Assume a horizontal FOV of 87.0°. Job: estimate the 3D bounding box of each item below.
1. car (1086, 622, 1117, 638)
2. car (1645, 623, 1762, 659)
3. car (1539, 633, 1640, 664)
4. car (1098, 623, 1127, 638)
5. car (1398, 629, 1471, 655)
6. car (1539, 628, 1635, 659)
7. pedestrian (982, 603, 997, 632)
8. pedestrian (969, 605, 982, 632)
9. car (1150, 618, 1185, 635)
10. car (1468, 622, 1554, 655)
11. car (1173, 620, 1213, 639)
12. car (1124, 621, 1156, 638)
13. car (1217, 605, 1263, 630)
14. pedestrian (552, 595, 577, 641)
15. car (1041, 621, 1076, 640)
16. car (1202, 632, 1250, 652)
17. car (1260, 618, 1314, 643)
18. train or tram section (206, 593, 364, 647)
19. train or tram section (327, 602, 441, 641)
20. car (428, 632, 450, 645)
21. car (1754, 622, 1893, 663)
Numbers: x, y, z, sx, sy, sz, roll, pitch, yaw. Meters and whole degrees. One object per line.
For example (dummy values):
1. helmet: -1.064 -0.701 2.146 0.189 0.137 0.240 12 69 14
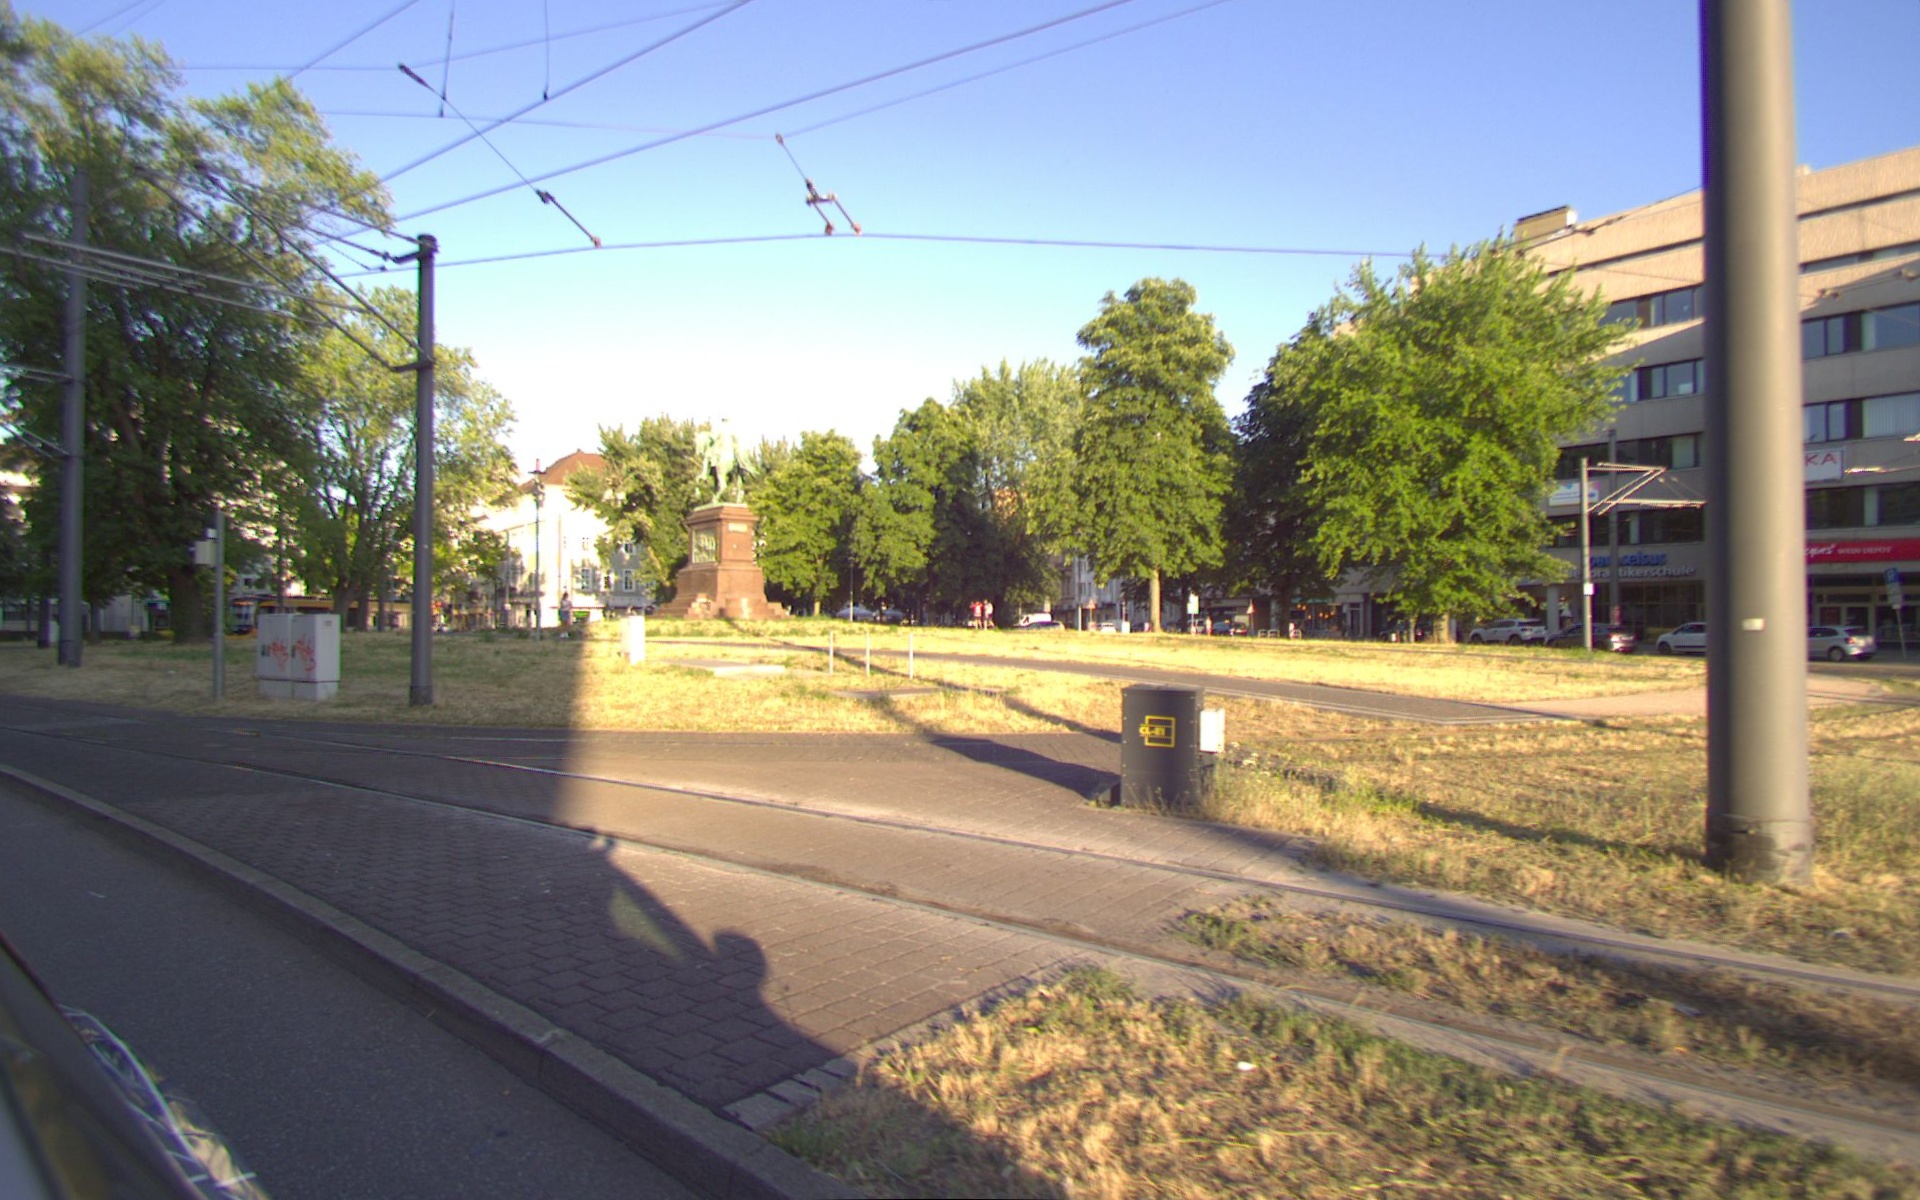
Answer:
1. car: 14.728 3.155 105.540 1.767 1.592 4.010 0 -3 -13
2. car: 33.980 1.893 46.401 1.730 1.564 4.012 0 -3 -17
3. car: 30.048 2.303 48.449 1.682 1.401 4.011 0 -3 -15
4. car: 16.594 3.330 110.164 1.767 1.592 4.010 0 -3 -13
5. car: 29.772 2.640 63.681 1.834 1.568 4.080 0 -3 -17
6. car: 32.307 2.251 52.297 1.730 1.564 4.012 0 -3 -17
7. pedestrian: 1.674 0.997 56.747 0.610 1.593 0.554 1 -3 -38
8. pedestrian: 0.858 1.033 56.831 0.447 1.524 0.554 1 -3 -38
9. car: 20.079 2.566 98.190 1.767 1.592 4.010 0 -3 -13
10. car: 31.216 2.195 57.446 1.730 1.808 4.221 0 -3 -17
11. car: 21.351 2.716 92.920 1.730 1.676 4.012 0 -3 -17
12. car: 18.491 3.059 104.293 1.767 1.592 4.010 0 -3 -13
13. car: 23.505 1.477 85.096 1.730 1.959 4.221 0 -3 -17
14. pedestrian: -14.797 0.669 37.867 0.834 1.703 0.470 -2 -3 36
15. car: 8.699 2.752 89.656 1.767 1.592 4.010 -1 -2 -13
16. car: 21.407 3.378 81.700 1.834 1.568 4.080 0 -3 -17
17. car: 25.459 2.395 78.919 1.906 1.808 4.221 0 -3 -17
18. train or tram section: -49.931 1.465 75.641 2.909 3.611 13.366 0 -1 0
19. train or tram section: -50.094 1.829 88.709 2.890 3.165 12.858 0 -1 -1
20. car: -68.588 5.076 133.199 1.697 1.564 3.974 1 -3 -39
21. car: 35.341 1.743 41.565 1.730 1.564 4.010 0 -3 -14
